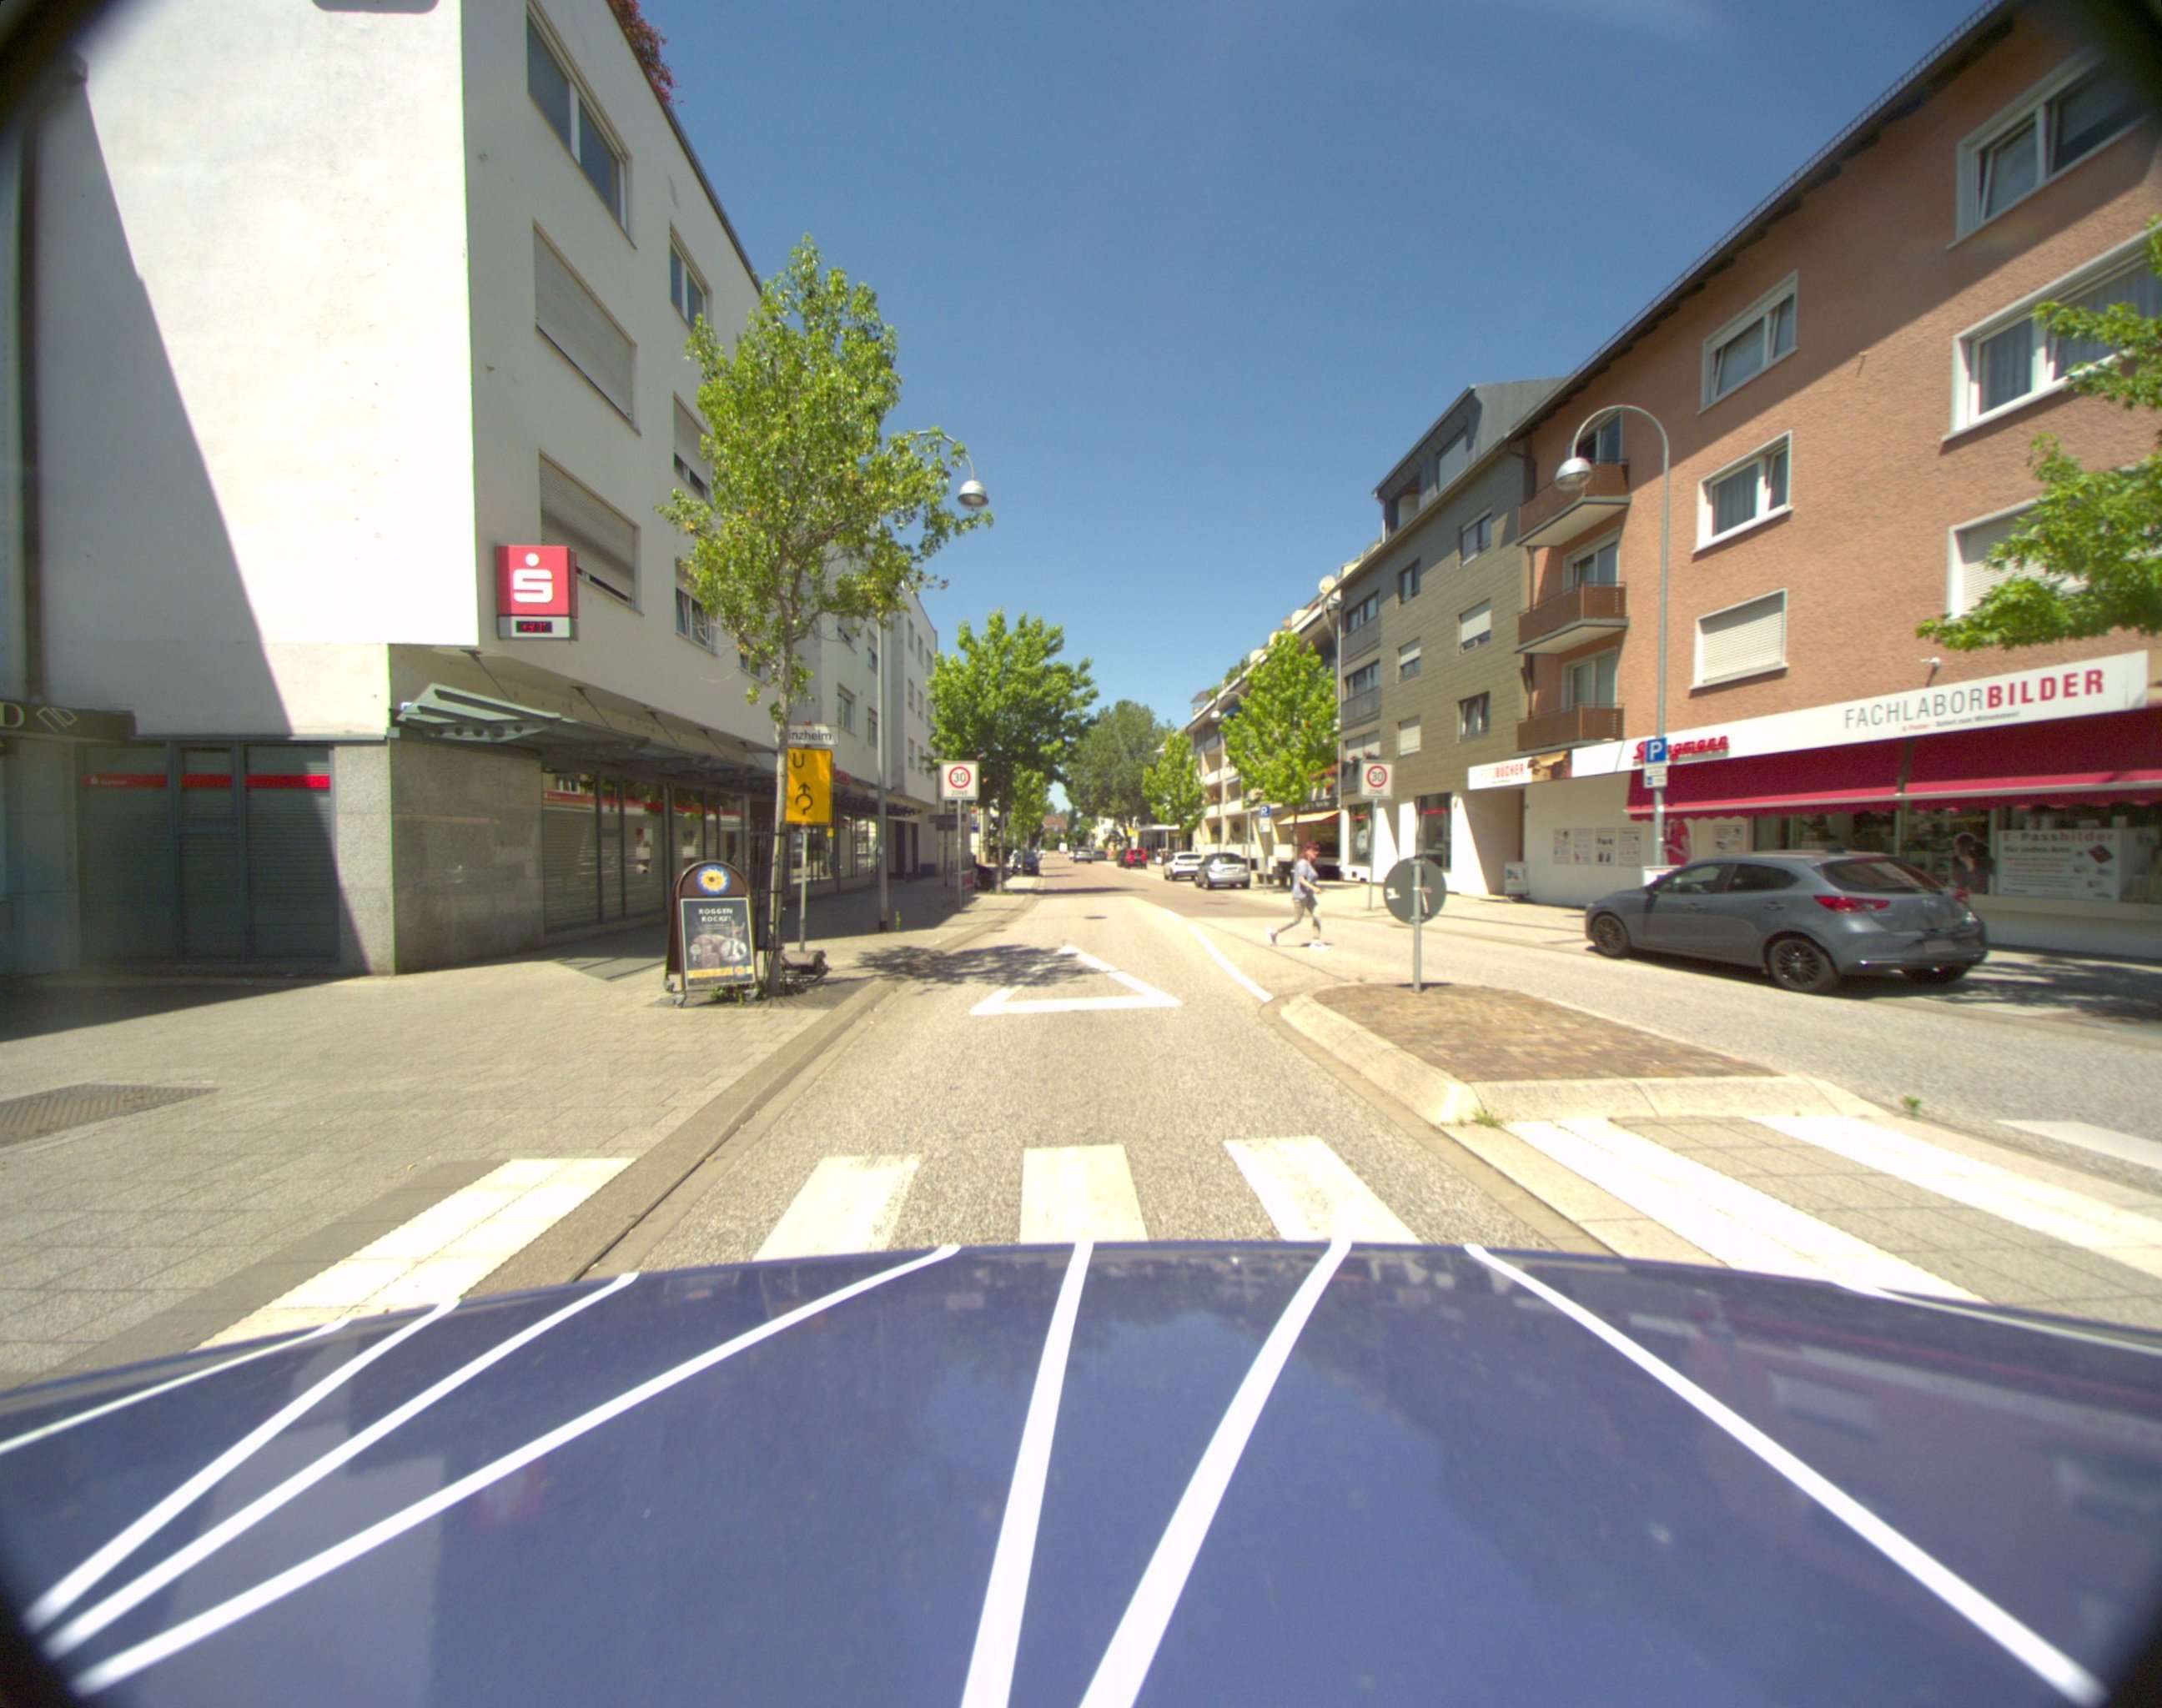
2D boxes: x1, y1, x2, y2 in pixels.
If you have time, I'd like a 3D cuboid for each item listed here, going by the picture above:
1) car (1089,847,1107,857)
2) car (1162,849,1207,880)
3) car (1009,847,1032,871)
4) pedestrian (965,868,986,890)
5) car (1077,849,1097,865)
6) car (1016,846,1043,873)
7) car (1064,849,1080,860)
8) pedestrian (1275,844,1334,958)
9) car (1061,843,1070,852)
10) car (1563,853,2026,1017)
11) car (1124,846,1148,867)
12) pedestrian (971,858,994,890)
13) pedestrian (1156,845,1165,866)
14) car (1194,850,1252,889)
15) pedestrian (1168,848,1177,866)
[{"bbox_3d":[2.331,-0.299,105.567,2.000,1.412,3.997,0,1,-6],"label":"car"},{"bbox_3d":[5.565,0.538,41.311,1.699,1.583,4.298,0,1,-2],"label":"car"},{"bbox_3d":[-4.624,0.348,57.765,1.693,1.712,4.131,0,1,-5],"label":"car"},{"bbox_3d":[-4.282,0.993,30.755,0.678,0.847,0.538,1,1,12],"label":"pedestrian"},{"bbox_3d":[0.654,0.361,88.452,1.906,1.744,4.754,1,1,-5],"label":"car"},{"bbox_3d":[-3.605,0.348,52.223,1.693,1.712,3.998,2,0,-5],"label":"car"},{"bbox_3d":[-1.290,0.055,111.072,1.777,1.623,4.296,-1,1,-9],"label":"car"},{"bbox_3d":[3.225,0.659,11.013,0.733,1.601,0.559,0,1,9],"label":"pedestrian"},{"bbox_3d":[-4.094,-1.684,203.139,2.232,2.452,5.247,0,1,-2],"label":"car"},{"bbox_3d":[8.244,0.776,9.401,1.672,1.477,4.058,-3,1,-5],"label":"car"},{"bbox_3d":[4.689,0.174,64.702,1.645,1.652,3.369,-2,1,-2],"label":"car"},{"bbox_3d":[-3.916,0.779,30.161,0.761,1.233,0.538,1,1,12],"label":"pedestrian"},{"bbox_3d":[6.691,0.111,63.890,0.667,1.794,0.686,0,1,13],"label":"pedestrian"},{"bbox_3d":[5.676,0.575,30.743,1.626,1.465,3.547,0,1,-2],"label":"car"},{"bbox_3d":[7.739,0.228,64.365,0.778,1.490,0.697,0,1,9],"label":"pedestrian"}]
